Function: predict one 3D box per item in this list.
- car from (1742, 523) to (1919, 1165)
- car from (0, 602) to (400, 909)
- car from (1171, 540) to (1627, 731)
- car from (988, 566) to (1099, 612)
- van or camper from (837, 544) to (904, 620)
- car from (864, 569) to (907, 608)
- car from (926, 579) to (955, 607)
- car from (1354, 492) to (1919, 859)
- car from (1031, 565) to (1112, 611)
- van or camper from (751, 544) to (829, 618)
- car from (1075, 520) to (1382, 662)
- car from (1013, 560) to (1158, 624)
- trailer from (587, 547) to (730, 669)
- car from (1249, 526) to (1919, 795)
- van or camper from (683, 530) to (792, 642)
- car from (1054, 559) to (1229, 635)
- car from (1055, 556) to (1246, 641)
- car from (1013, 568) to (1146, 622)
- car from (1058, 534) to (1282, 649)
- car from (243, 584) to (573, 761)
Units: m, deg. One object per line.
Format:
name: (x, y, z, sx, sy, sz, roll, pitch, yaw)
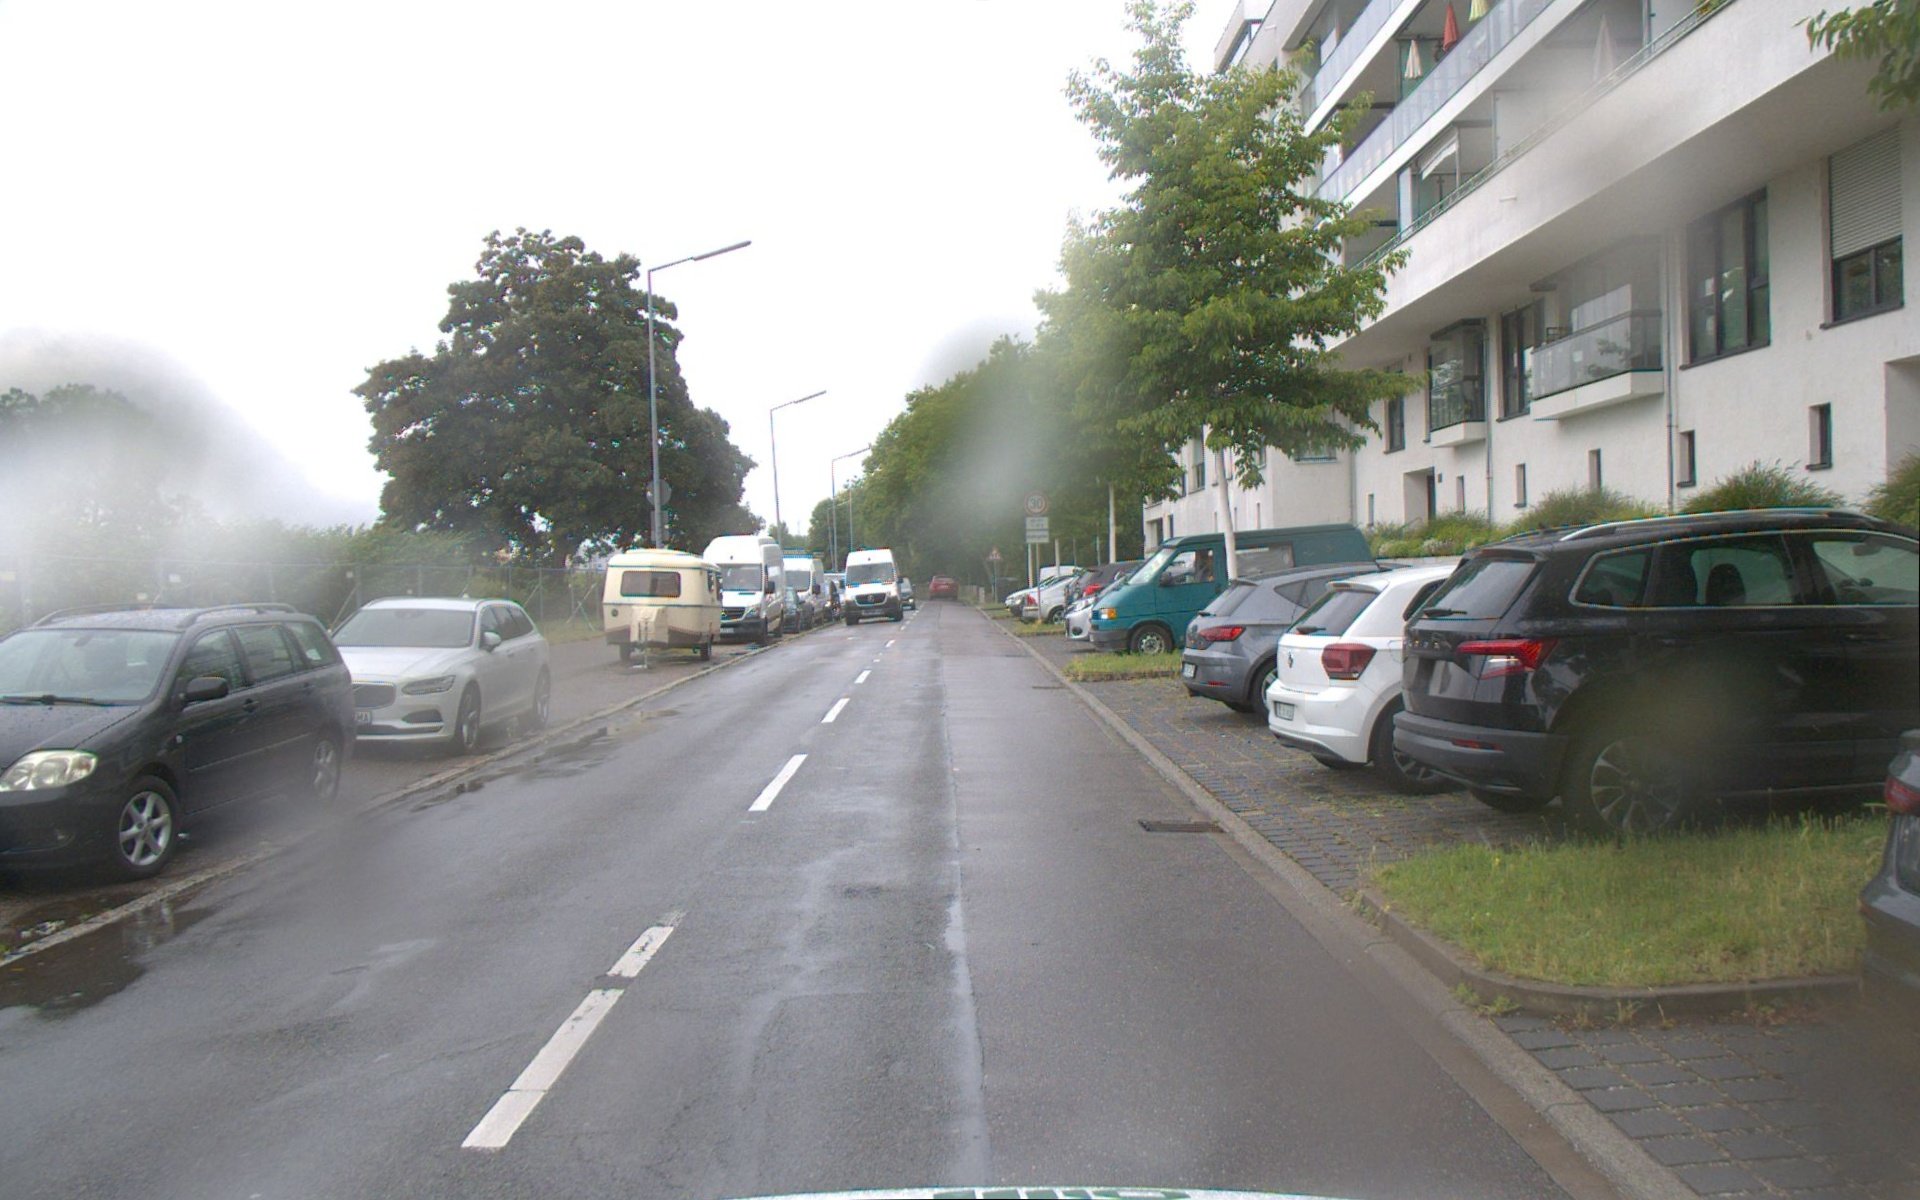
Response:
car: (4.230, 0.478, 3.925, 3.907, 1.536, 1.684, -4, 2, -1)
car: (-5.412, 0.811, 11.001, 1.737, 1.529, 4.827, 0, 1, 0)
car: (4.211, 0.315, 16.205, 3.951, 1.525, 1.630, -4, 1, -4)
car: (3.223, -0.421, 64.102, 4.015, 1.602, 1.865, -2, 0, -8)
van or camper: (-3.220, -0.650, 60.667, 1.953, 2.540, 7.178, -3, 1, 0)
car: (-3.660, -0.568, 81.773, 1.843, 1.788, 4.068, -2, 1, 0)
car: (-1.241, -0.454, 107.817, 1.720, 1.735, 4.001, -2, 0, 1)
car: (4.493, 0.298, 9.115, 4.080, 1.652, 1.896, -4, 1, -3)
car: (5.853, -0.636, 86.974, 3.904, 2.332, 1.777, -1, 0, 20)
van or camper: (-6.050, -0.669, 59.582, 2.144, 2.504, 6.377, 0, 0, 0)
car: (4.259, -0.154, 26.668, 4.528, 2.054, 1.856, -2, 0, -5)
car: (3.886, -0.265, 51.760, 4.299, 1.807, 2.005, -2, 0, -1)
trailer: (-5.991, 0.108, 33.583, 2.017, 2.256, 5.792, 0, 1, -2)
car: (4.289, 0.367, 11.396, 4.214, 1.453, 1.636, -4, 1, -3)
van or camper: (-6.022, -0.393, 45.653, 1.953, 2.810, 7.898, 0, 0, 0)
car: (4.279, -0.088, 39.367, 3.808, 1.628, 1.862, -2, 0, -6)
car: (4.124, -0.050, 36.162, 3.808, 1.710, 1.862, -2, 1, -6)
car: (4.022, -0.166, 56.270, 4.299, 1.662, 2.005, -2, 0, -1)
car: (3.979, -0.172, 31.791, 4.010, 1.927, 1.727, -3, 1, 0)
car: (-5.545, 0.627, 17.392, 1.849, 1.552, 5.108, 1, 1, -1)
